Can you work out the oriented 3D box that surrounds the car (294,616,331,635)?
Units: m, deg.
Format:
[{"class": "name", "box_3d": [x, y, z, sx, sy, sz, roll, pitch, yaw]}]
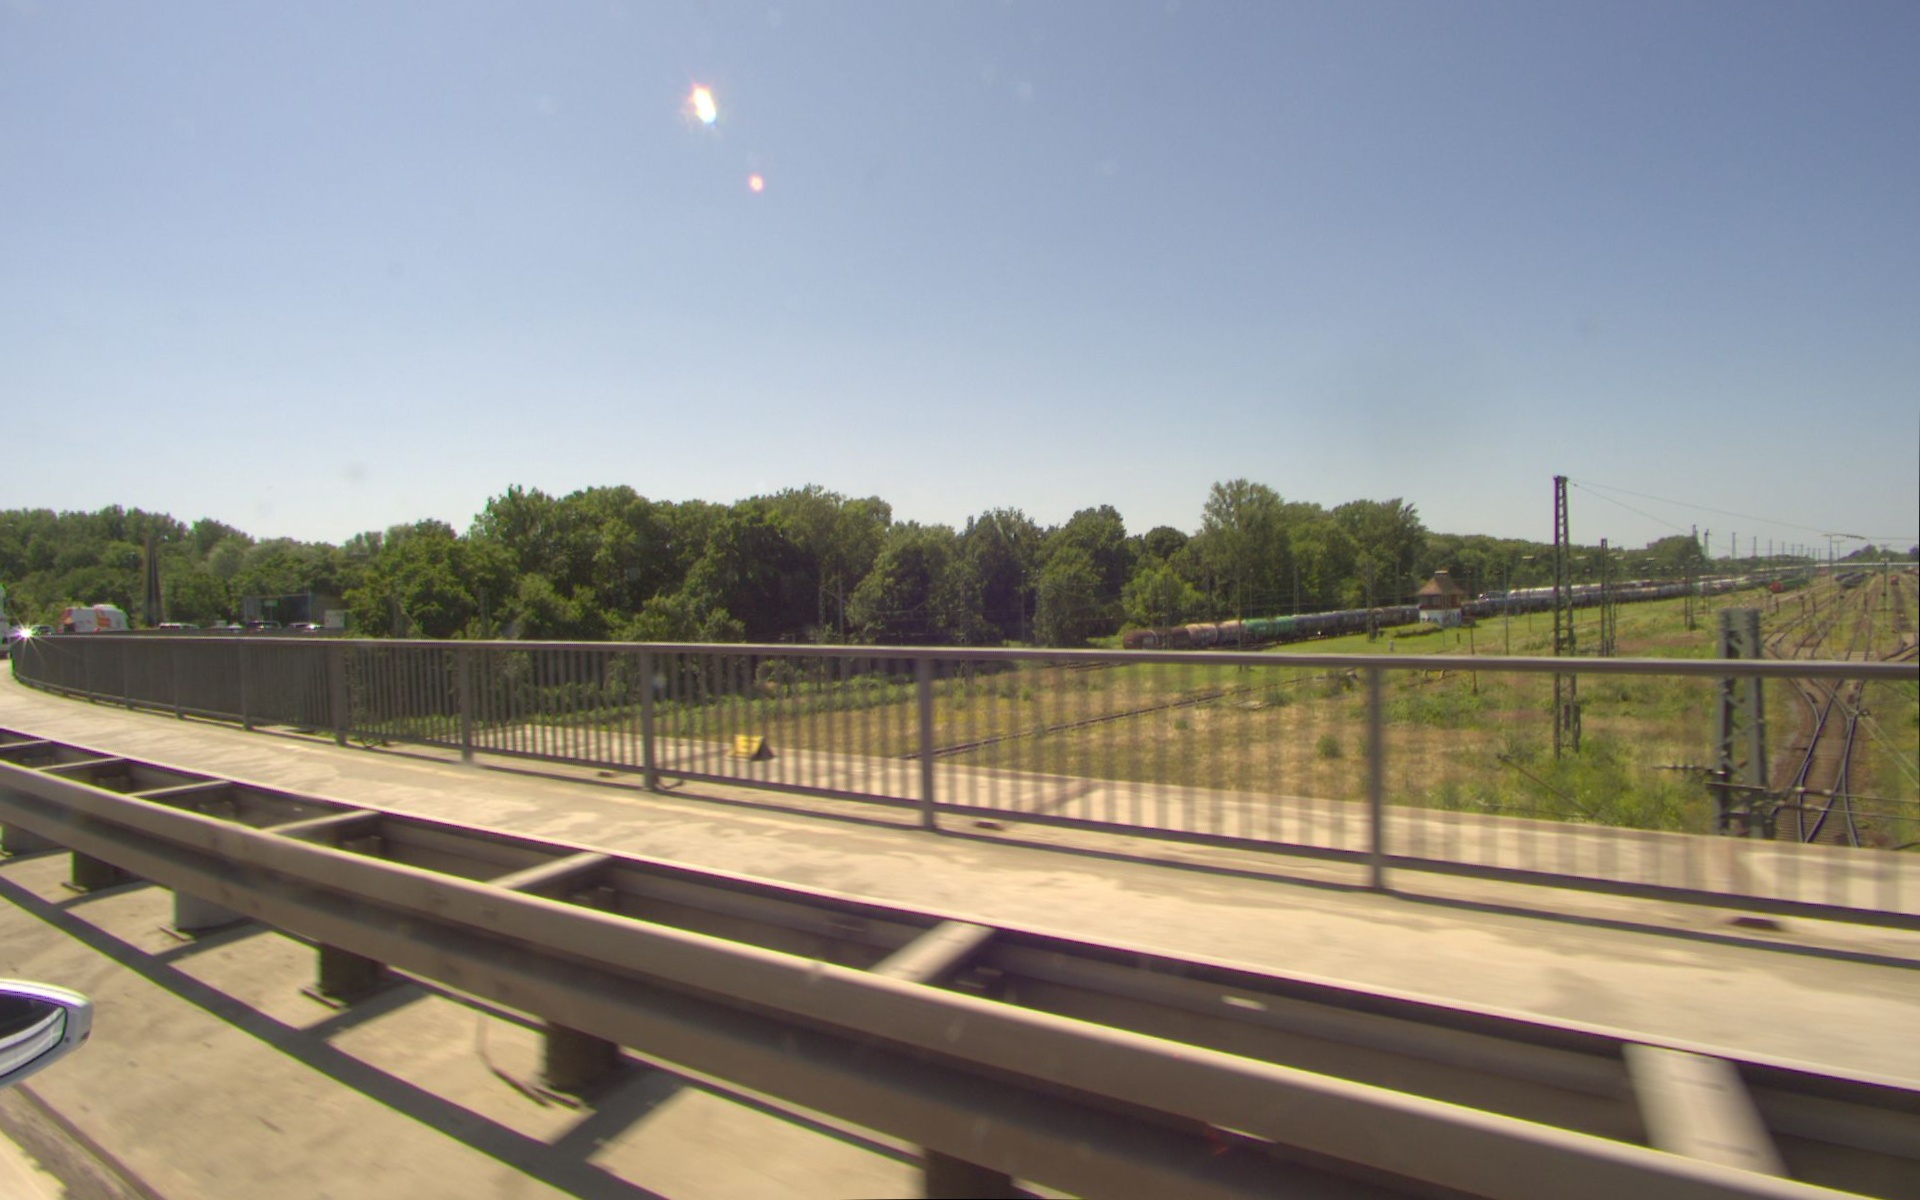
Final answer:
[{"class": "car", "box_3d": [-66.485, 2.666, 102.905, 1.859, 1.873, 3.999, 0, -2, -11]}]

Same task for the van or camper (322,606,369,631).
[{"class": "van or camper", "box_3d": [-70.530, 2.122, 115.033, 2.445, 2.318, 4.967, 5, -5, -4]}]

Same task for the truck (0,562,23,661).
[{"class": "truck", "box_3d": [-46.797, 0.534, 46.773, 3.138, 4.643, 7.353, 1, -2, -33]}]

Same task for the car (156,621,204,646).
[{"class": "car", "box_3d": [-58.997, 2.531, 75.804, 1.864, 1.873, 3.989, 0, -2, -23]}]

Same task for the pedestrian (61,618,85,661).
[{"class": "pedestrian", "box_3d": [-41.734, 1.872, 47.120, 0.729, 1.992, 0.730, 1, -2, -33]}]

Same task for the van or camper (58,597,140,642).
[{"class": "van or camper", "box_3d": [-54.863, 1.255, 63.931, 2.174, 2.746, 5.908, 0, -1, -22]}]

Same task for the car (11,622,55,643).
[{"class": "car", "box_3d": [-62.135, 2.200, 67.162, 1.236, 1.189, 2.914, 4, -6, -24]}]
